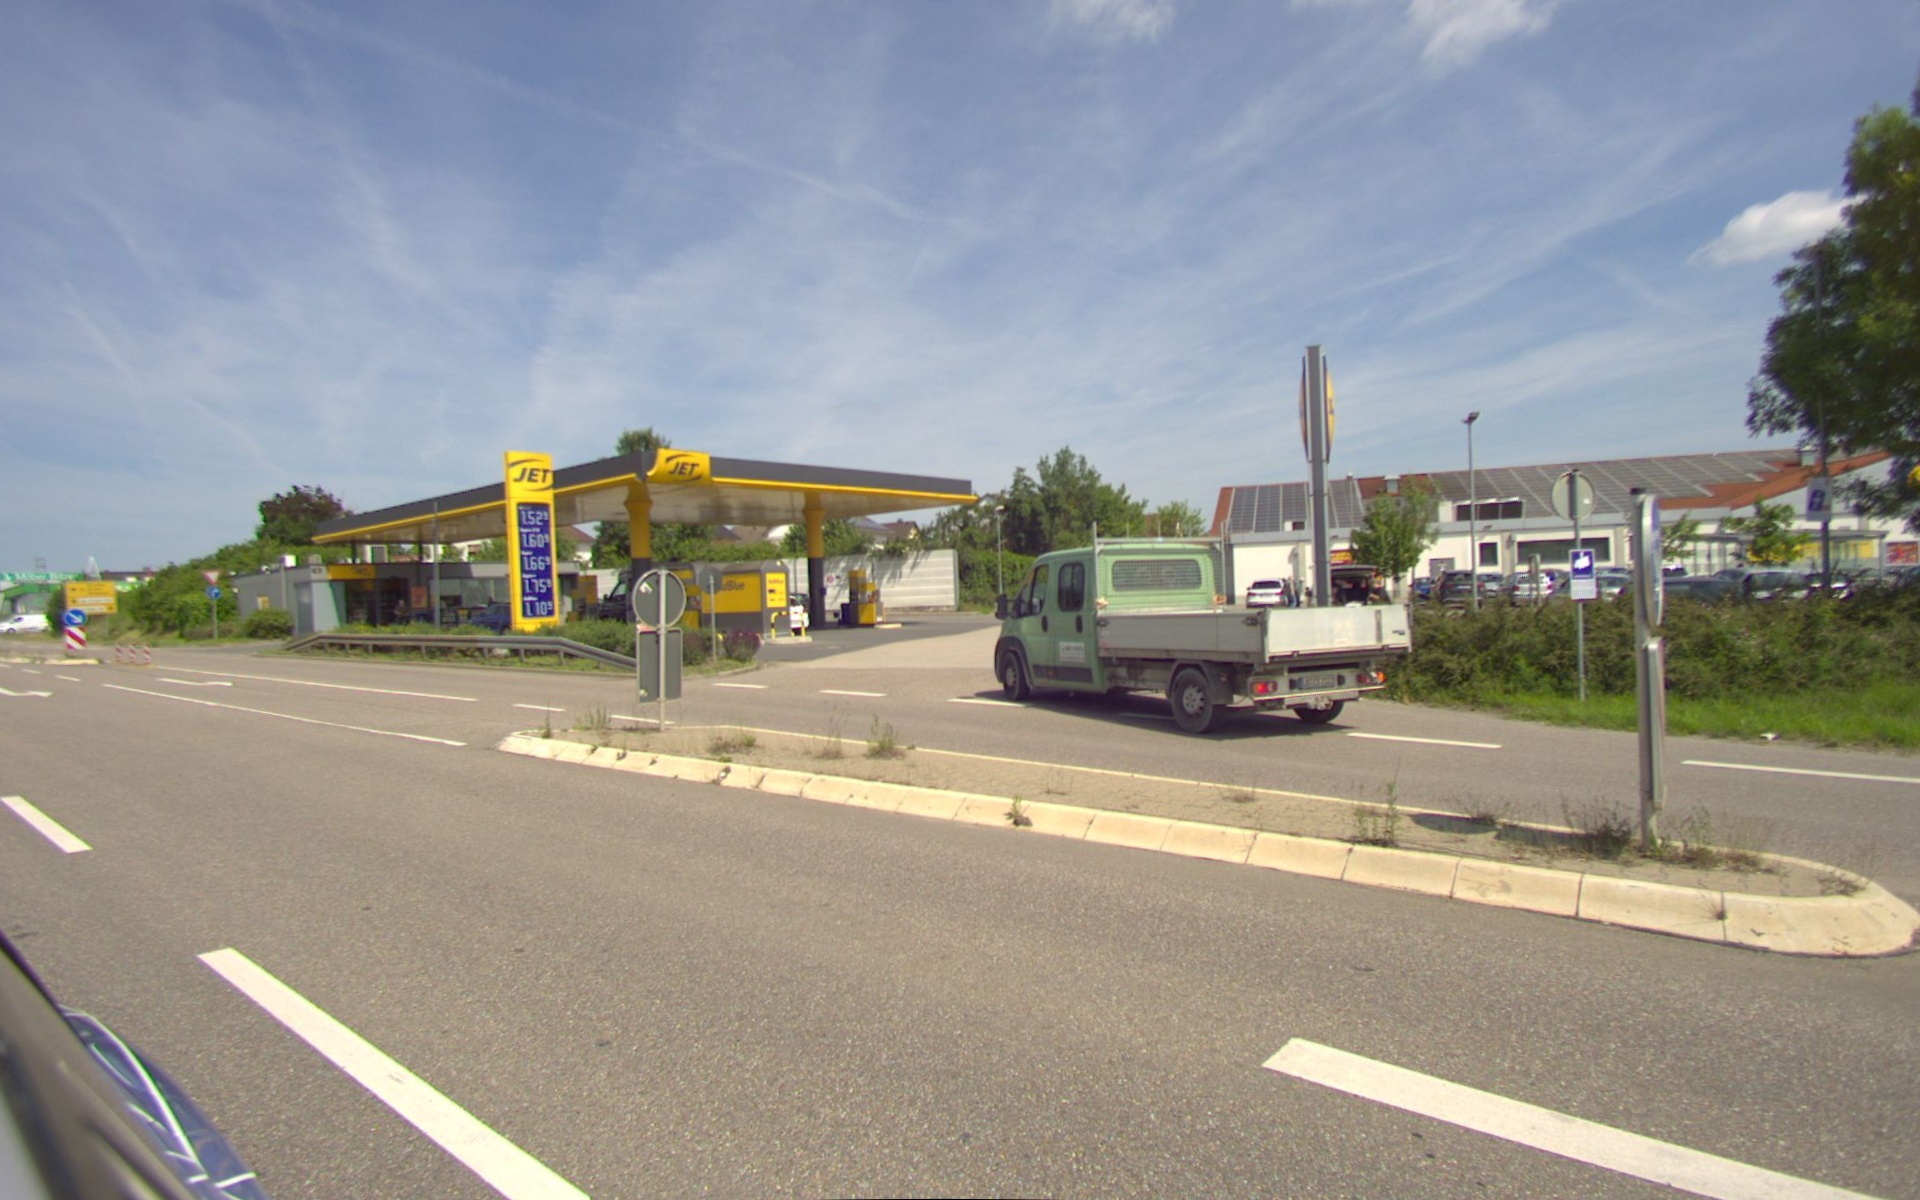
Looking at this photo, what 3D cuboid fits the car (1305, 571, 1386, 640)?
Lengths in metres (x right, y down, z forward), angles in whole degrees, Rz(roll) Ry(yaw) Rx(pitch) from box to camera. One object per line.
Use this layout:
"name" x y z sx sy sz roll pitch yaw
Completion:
"car" 11.164 0.137 29.516 1.864 1.825 4.145 -2 0 17

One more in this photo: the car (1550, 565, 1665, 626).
"car" 19.899 -0.164 31.320 1.850 1.688 4.399 -2 1 17

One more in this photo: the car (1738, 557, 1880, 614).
"car" 24.840 -0.403 29.800 1.764 1.540 3.977 -1 0 17

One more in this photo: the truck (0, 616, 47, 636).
"truck" -102.891 2.814 110.423 1.999 2.024 4.709 -2 1 41

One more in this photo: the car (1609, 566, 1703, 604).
"car" 28.494 -0.623 41.569 1.868 1.453 3.982 -1 1 14

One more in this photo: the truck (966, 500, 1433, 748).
"truck" 2.565 0.233 13.112 2.210 2.393 6.370 -2 0 -27

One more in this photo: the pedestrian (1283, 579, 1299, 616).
"pedestrian" 14.098 -0.093 43.086 0.504 1.564 0.511 -1 0 32

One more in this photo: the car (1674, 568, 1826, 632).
"car" 20.469 -0.036 26.440 1.768 1.513 4.122 -2 1 18

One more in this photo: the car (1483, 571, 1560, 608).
"car" 23.814 -0.452 43.091 1.868 1.453 3.982 -1 1 14

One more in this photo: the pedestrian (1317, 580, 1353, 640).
"pedestrian" 10.042 0.267 27.126 0.801 1.587 0.701 -1 0 13

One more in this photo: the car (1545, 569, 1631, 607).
"car" 26.056 -0.492 42.134 1.868 1.453 3.982 -1 1 14

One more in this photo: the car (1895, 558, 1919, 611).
"car" 28.902 -0.461 28.816 1.764 1.540 3.977 -1 0 17

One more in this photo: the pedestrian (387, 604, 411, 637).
"pedestrian" -25.106 0.894 45.307 0.900 1.438 0.495 -1 0 -33

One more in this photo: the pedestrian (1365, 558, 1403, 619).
"pedestrian" 11.226 -0.298 26.806 0.801 1.587 0.701 -1 0 13

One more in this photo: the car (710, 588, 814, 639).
"car" -7.226 0.538 36.779 4.000 1.741 1.713 -2 -3 44

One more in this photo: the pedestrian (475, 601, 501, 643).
"pedestrian" -20.935 0.969 44.898 0.639 1.852 0.788 -2 0 41

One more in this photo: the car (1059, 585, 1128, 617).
"car" 7.184 0.015 54.354 1.753 1.625 3.821 -2 -1 44

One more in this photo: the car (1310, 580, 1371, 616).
"car" 17.007 -0.106 45.139 1.879 1.453 3.959 -1 1 31

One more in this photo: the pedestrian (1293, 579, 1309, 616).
"pedestrian" 14.726 -0.105 43.733 0.516 1.564 0.500 -1 0 33

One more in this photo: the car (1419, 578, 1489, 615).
"car" 20.971 -0.180 43.135 1.868 1.453 3.982 -1 1 14

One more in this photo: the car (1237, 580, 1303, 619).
"car" 13.916 -0.063 45.314 1.764 1.551 3.956 -3 0 33

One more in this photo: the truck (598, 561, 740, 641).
"truck" -11.586 0.046 39.995 6.278 2.944 2.222 -1 0 39

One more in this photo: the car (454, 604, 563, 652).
"car" -17.189 1.069 38.480 4.258 1.719 1.975 -2 -1 37
